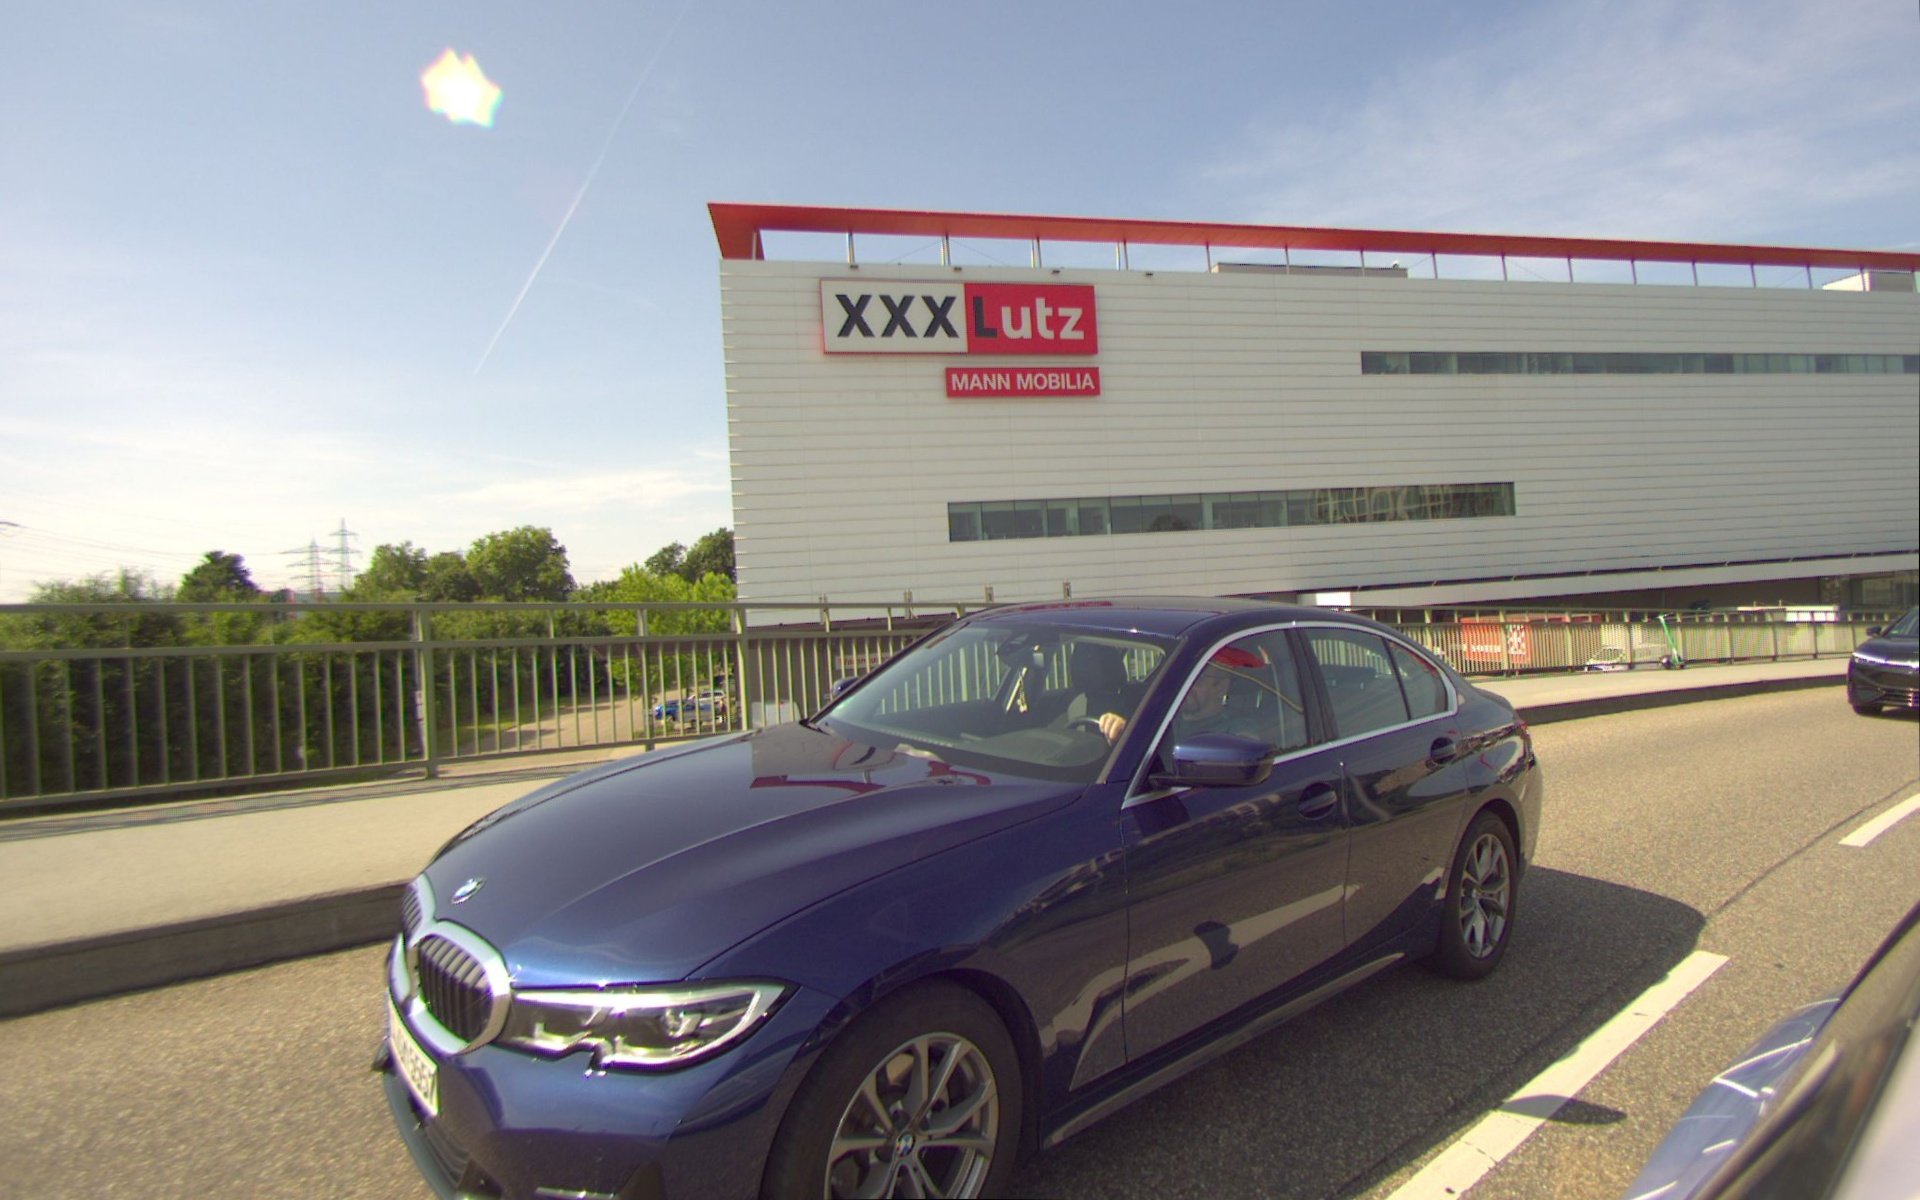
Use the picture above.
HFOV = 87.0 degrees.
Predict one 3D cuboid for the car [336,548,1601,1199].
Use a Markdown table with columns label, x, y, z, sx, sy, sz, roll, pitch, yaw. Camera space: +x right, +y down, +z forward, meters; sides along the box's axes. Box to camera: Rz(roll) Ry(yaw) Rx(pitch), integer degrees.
| label | x | y | z | sx | sy | sz | roll | pitch | yaw |
| --- | --- | --- | --- | --- | --- | --- | --- | --- | --- |
| car | 0.492 | 0.664 | 3.671 | 4.442 | 1.502 | 1.790 | -4 | 0 | -40 |

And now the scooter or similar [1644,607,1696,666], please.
| label | x | y | z | sx | sy | sz | roll | pitch | yaw |
| --- | --- | --- | --- | --- | --- | --- | --- | --- | --- |
| scooter or similar | 14.402 | 0.722 | 20.516 | 1.456 | 1.157 | 0.512 | 1 | -2 | -41 |

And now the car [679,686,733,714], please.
| label | x | y | z | sx | sy | sz | roll | pitch | yaw |
| --- | --- | --- | --- | --- | --- | --- | --- | --- | --- |
| car | -19.386 | 7.626 | 77.362 | 3.747 | 1.658 | 1.810 | -3 | 0 | -8 |

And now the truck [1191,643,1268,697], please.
| label | x | y | z | sx | sy | sz | roll | pitch | yaw |
| --- | --- | --- | --- | --- | --- | --- | --- | --- | --- |
| truck | 17.019 | 4.355 | 64.237 | 2.088 | 2.964 | 6.021 | -3 | -1 | -12 |

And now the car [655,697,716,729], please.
| label | x | y | z | sx | sy | sz | roll | pitch | yaw |
| --- | --- | --- | --- | --- | --- | --- | --- | --- | --- |
| car | -18.629 | 7.679 | 68.853 | 3.747 | 1.658 | 1.810 | -3 | 0 | -8 |

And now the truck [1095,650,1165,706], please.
| label | x | y | z | sx | sy | sz | roll | pitch | yaw |
| --- | --- | --- | --- | --- | --- | --- | --- | --- | --- |
| truck | 10.398 | 4.734 | 62.487 | 2.088 | 2.964 | 6.021 | -3 | -1 | -12 |

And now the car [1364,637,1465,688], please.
| label | x | y | z | sx | sy | sz | roll | pitch | yaw |
| --- | --- | --- | --- | --- | --- | --- | --- | --- | --- |
| car | 27.337 | 3.701 | 61.148 | 2.088 | 2.654 | 6.022 | -3 | -1 | -15 |

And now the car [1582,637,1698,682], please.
| label | x | y | z | sx | sy | sz | roll | pitch | yaw |
| --- | --- | --- | --- | --- | --- | --- | --- | --- | --- |
| car | 39.234 | 3.390 | 58.417 | 5.887 | 2.030 | 2.136 | -3 | 1 | -14 |

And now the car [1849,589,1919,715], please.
| label | x | y | z | sx | sy | sz | roll | pitch | yaw |
| --- | --- | --- | --- | --- | --- | --- | --- | --- | --- |
| car | 13.760 | 0.715 | 13.556 | 4.065 | 1.548 | 1.863 | 2 | 1 | -35 |

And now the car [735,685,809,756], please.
| label | x | y | z | sx | sy | sz | roll | pitch | yaw |
| --- | --- | --- | --- | --- | --- | --- | --- | --- | --- |
| car | -9.761 | 6.091 | 52.139 | 2.089 | 2.964 | 6.019 | -3 | -1 | -26 |
